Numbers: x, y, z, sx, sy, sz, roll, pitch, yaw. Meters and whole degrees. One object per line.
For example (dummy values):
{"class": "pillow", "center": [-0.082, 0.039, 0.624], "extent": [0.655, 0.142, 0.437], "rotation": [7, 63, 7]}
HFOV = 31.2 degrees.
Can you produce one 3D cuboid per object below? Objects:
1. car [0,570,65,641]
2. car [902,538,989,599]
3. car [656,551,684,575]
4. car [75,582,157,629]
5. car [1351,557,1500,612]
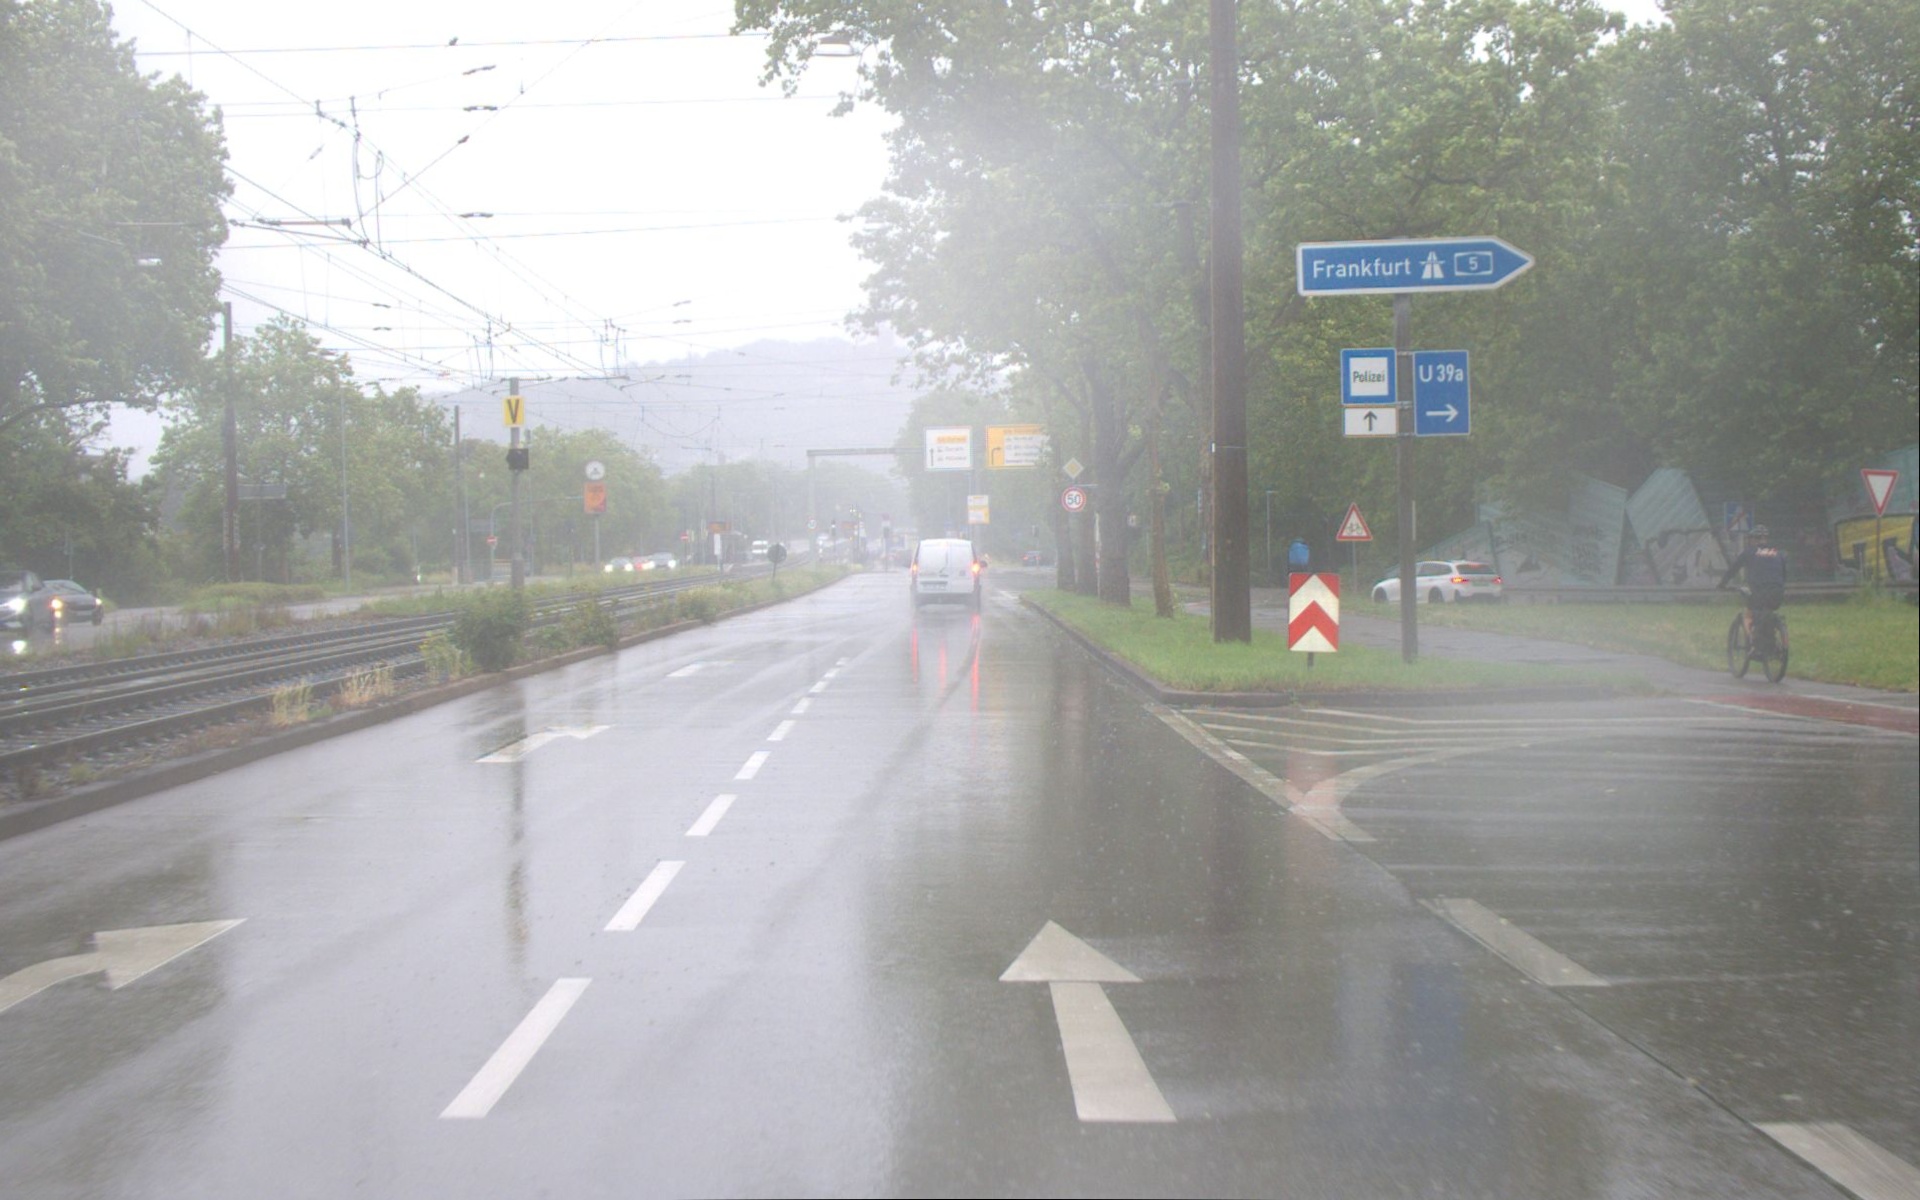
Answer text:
{"class": "car", "center": [-21.960, 0.108, 78.907], "extent": [1.690, 1.518, 4.956], "rotation": [-1, 1, -2]}
{"class": "car", "center": [-0.385, -0.790, 86.166], "extent": [2.077, 1.415, 4.000], "rotation": [-2, 1, -1]}
{"class": "car", "center": [-20.742, -2.647, 246.020], "extent": [1.943, 1.610, 4.989], "rotation": [-1, 1, -4]}
{"class": "car", "center": [-26.175, 0.152, 106.695], "extent": [1.682, 1.401, 3.940], "rotation": [0, 1, -2]}
{"class": "car", "center": [13.288, -0.453, 98.374], "extent": [1.948, 1.531, 4.467], "rotation": [-1, 1, -29]}
